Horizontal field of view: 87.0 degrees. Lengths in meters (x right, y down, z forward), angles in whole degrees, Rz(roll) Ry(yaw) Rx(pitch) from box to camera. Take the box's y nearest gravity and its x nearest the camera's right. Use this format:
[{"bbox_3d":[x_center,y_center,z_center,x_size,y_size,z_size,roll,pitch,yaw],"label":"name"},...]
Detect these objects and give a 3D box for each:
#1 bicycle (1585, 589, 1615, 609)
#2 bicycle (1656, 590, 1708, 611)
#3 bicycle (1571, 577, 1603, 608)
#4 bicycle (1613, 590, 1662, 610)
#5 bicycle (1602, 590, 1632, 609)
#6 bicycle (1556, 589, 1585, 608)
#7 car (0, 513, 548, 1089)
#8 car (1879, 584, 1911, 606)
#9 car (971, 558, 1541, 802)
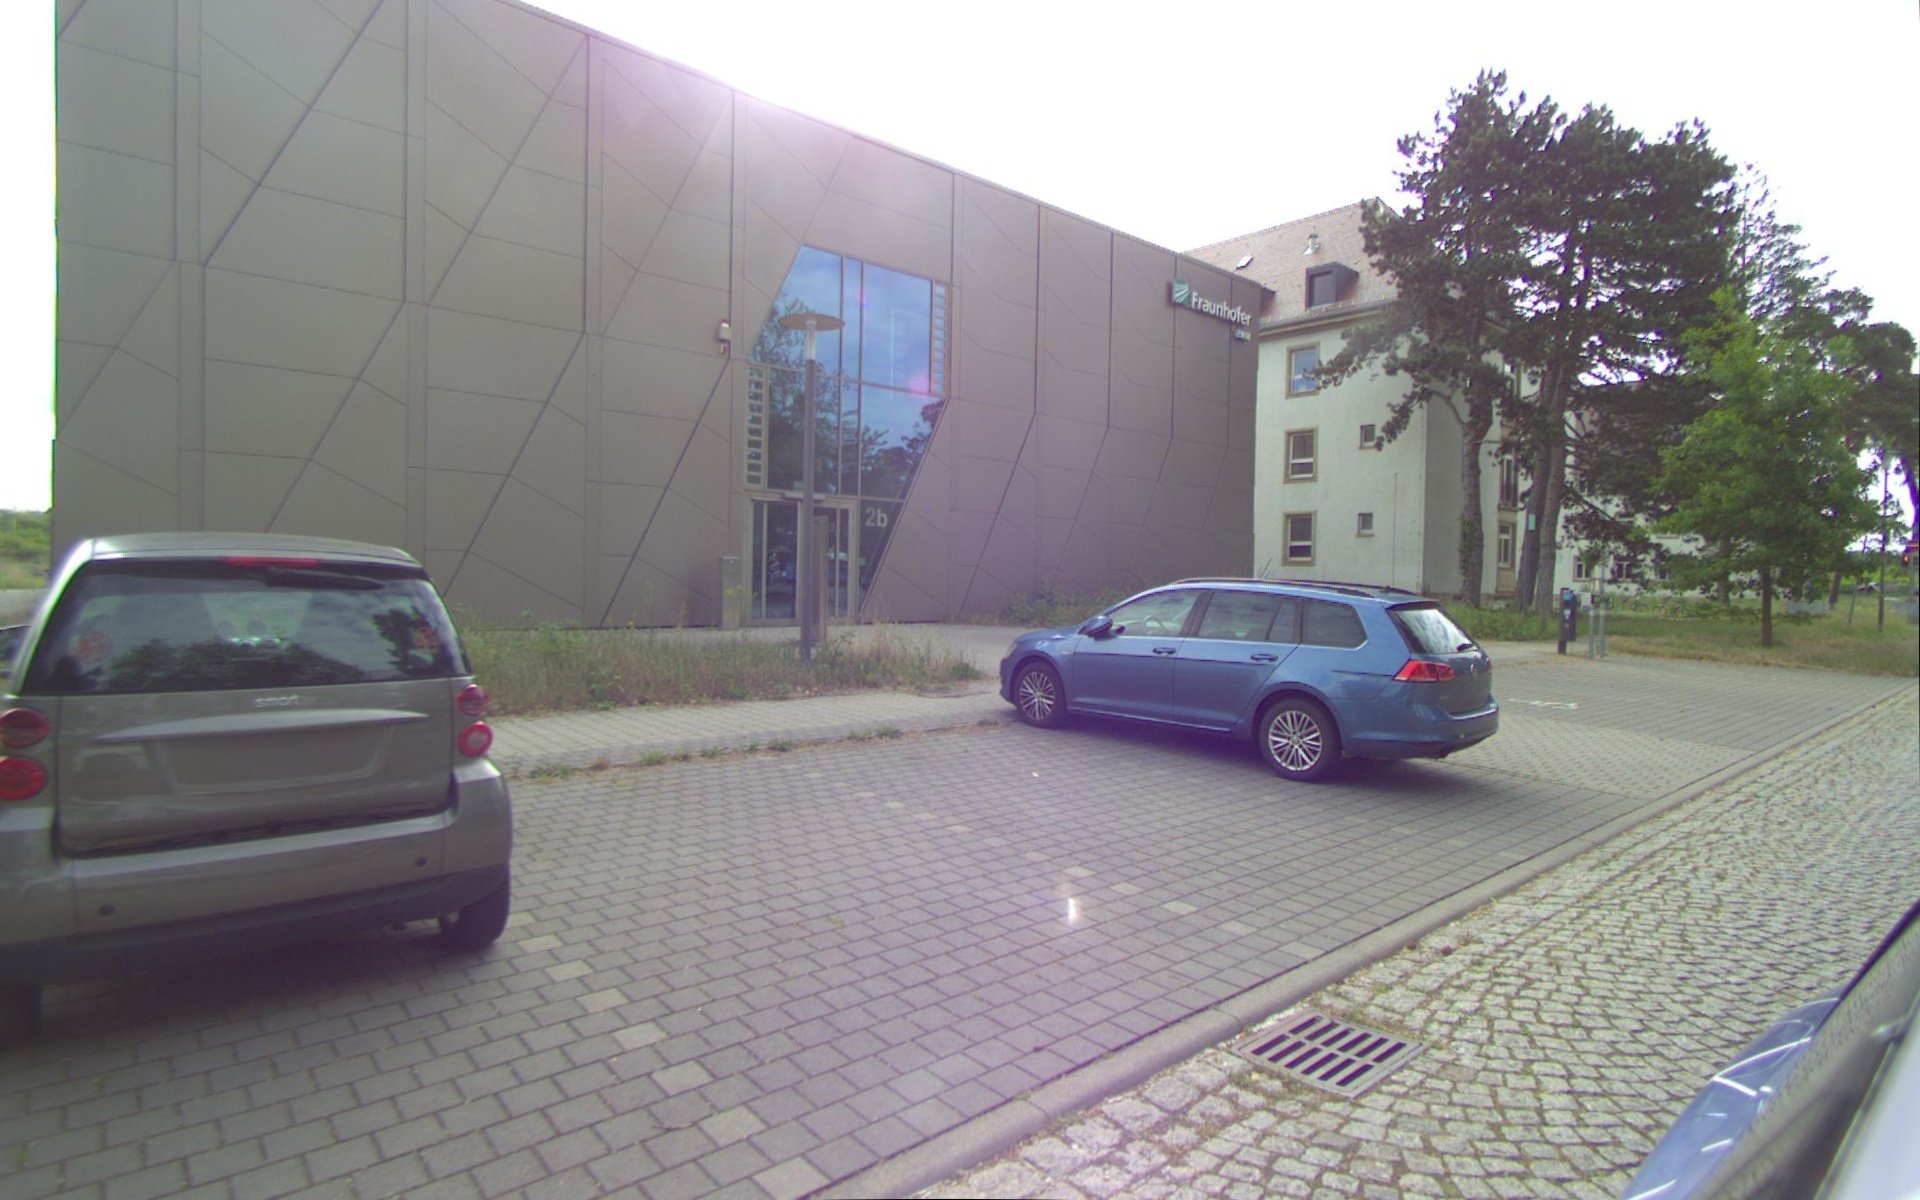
[{"bbox_3d":[36.923,-0.068,58.378,2.159,1.070,0.800,0,1,-39],"label":"bicycle"},{"bbox_3d":[38.821,0.020,54.418,0.705,1.108,2.160,0,1,-44],"label":"bicycle"},{"bbox_3d":[36.681,-0.431,59.172,2.159,1.753,0.905,0,1,-39],"label":"bicycle"},{"bbox_3d":[37.514,-0.003,56.041,0.705,1.070,2.160,0,1,-44],"label":"bicycle"},{"bbox_3d":[37.467,-0.048,57.725,2.126,1.070,0.800,0,1,-39],"label":"bicycle"},{"bbox_3d":[36.060,-0.105,59.763,2.159,1.070,0.800,0,1,-39],"label":"bicycle"},{"bbox_3d":[-3.065,0.480,4.274,1.653,1.601,2.747,0,4,-41],"label":"car"},{"bbox_3d":[82.075,-0.464,88.876,1.993,1.809,3.938,2,2,43],"label":"car"},{"bbox_3d":[2.354,0.460,9.051,1.899,1.467,4.532,0,4,-43],"label":"car"}]
